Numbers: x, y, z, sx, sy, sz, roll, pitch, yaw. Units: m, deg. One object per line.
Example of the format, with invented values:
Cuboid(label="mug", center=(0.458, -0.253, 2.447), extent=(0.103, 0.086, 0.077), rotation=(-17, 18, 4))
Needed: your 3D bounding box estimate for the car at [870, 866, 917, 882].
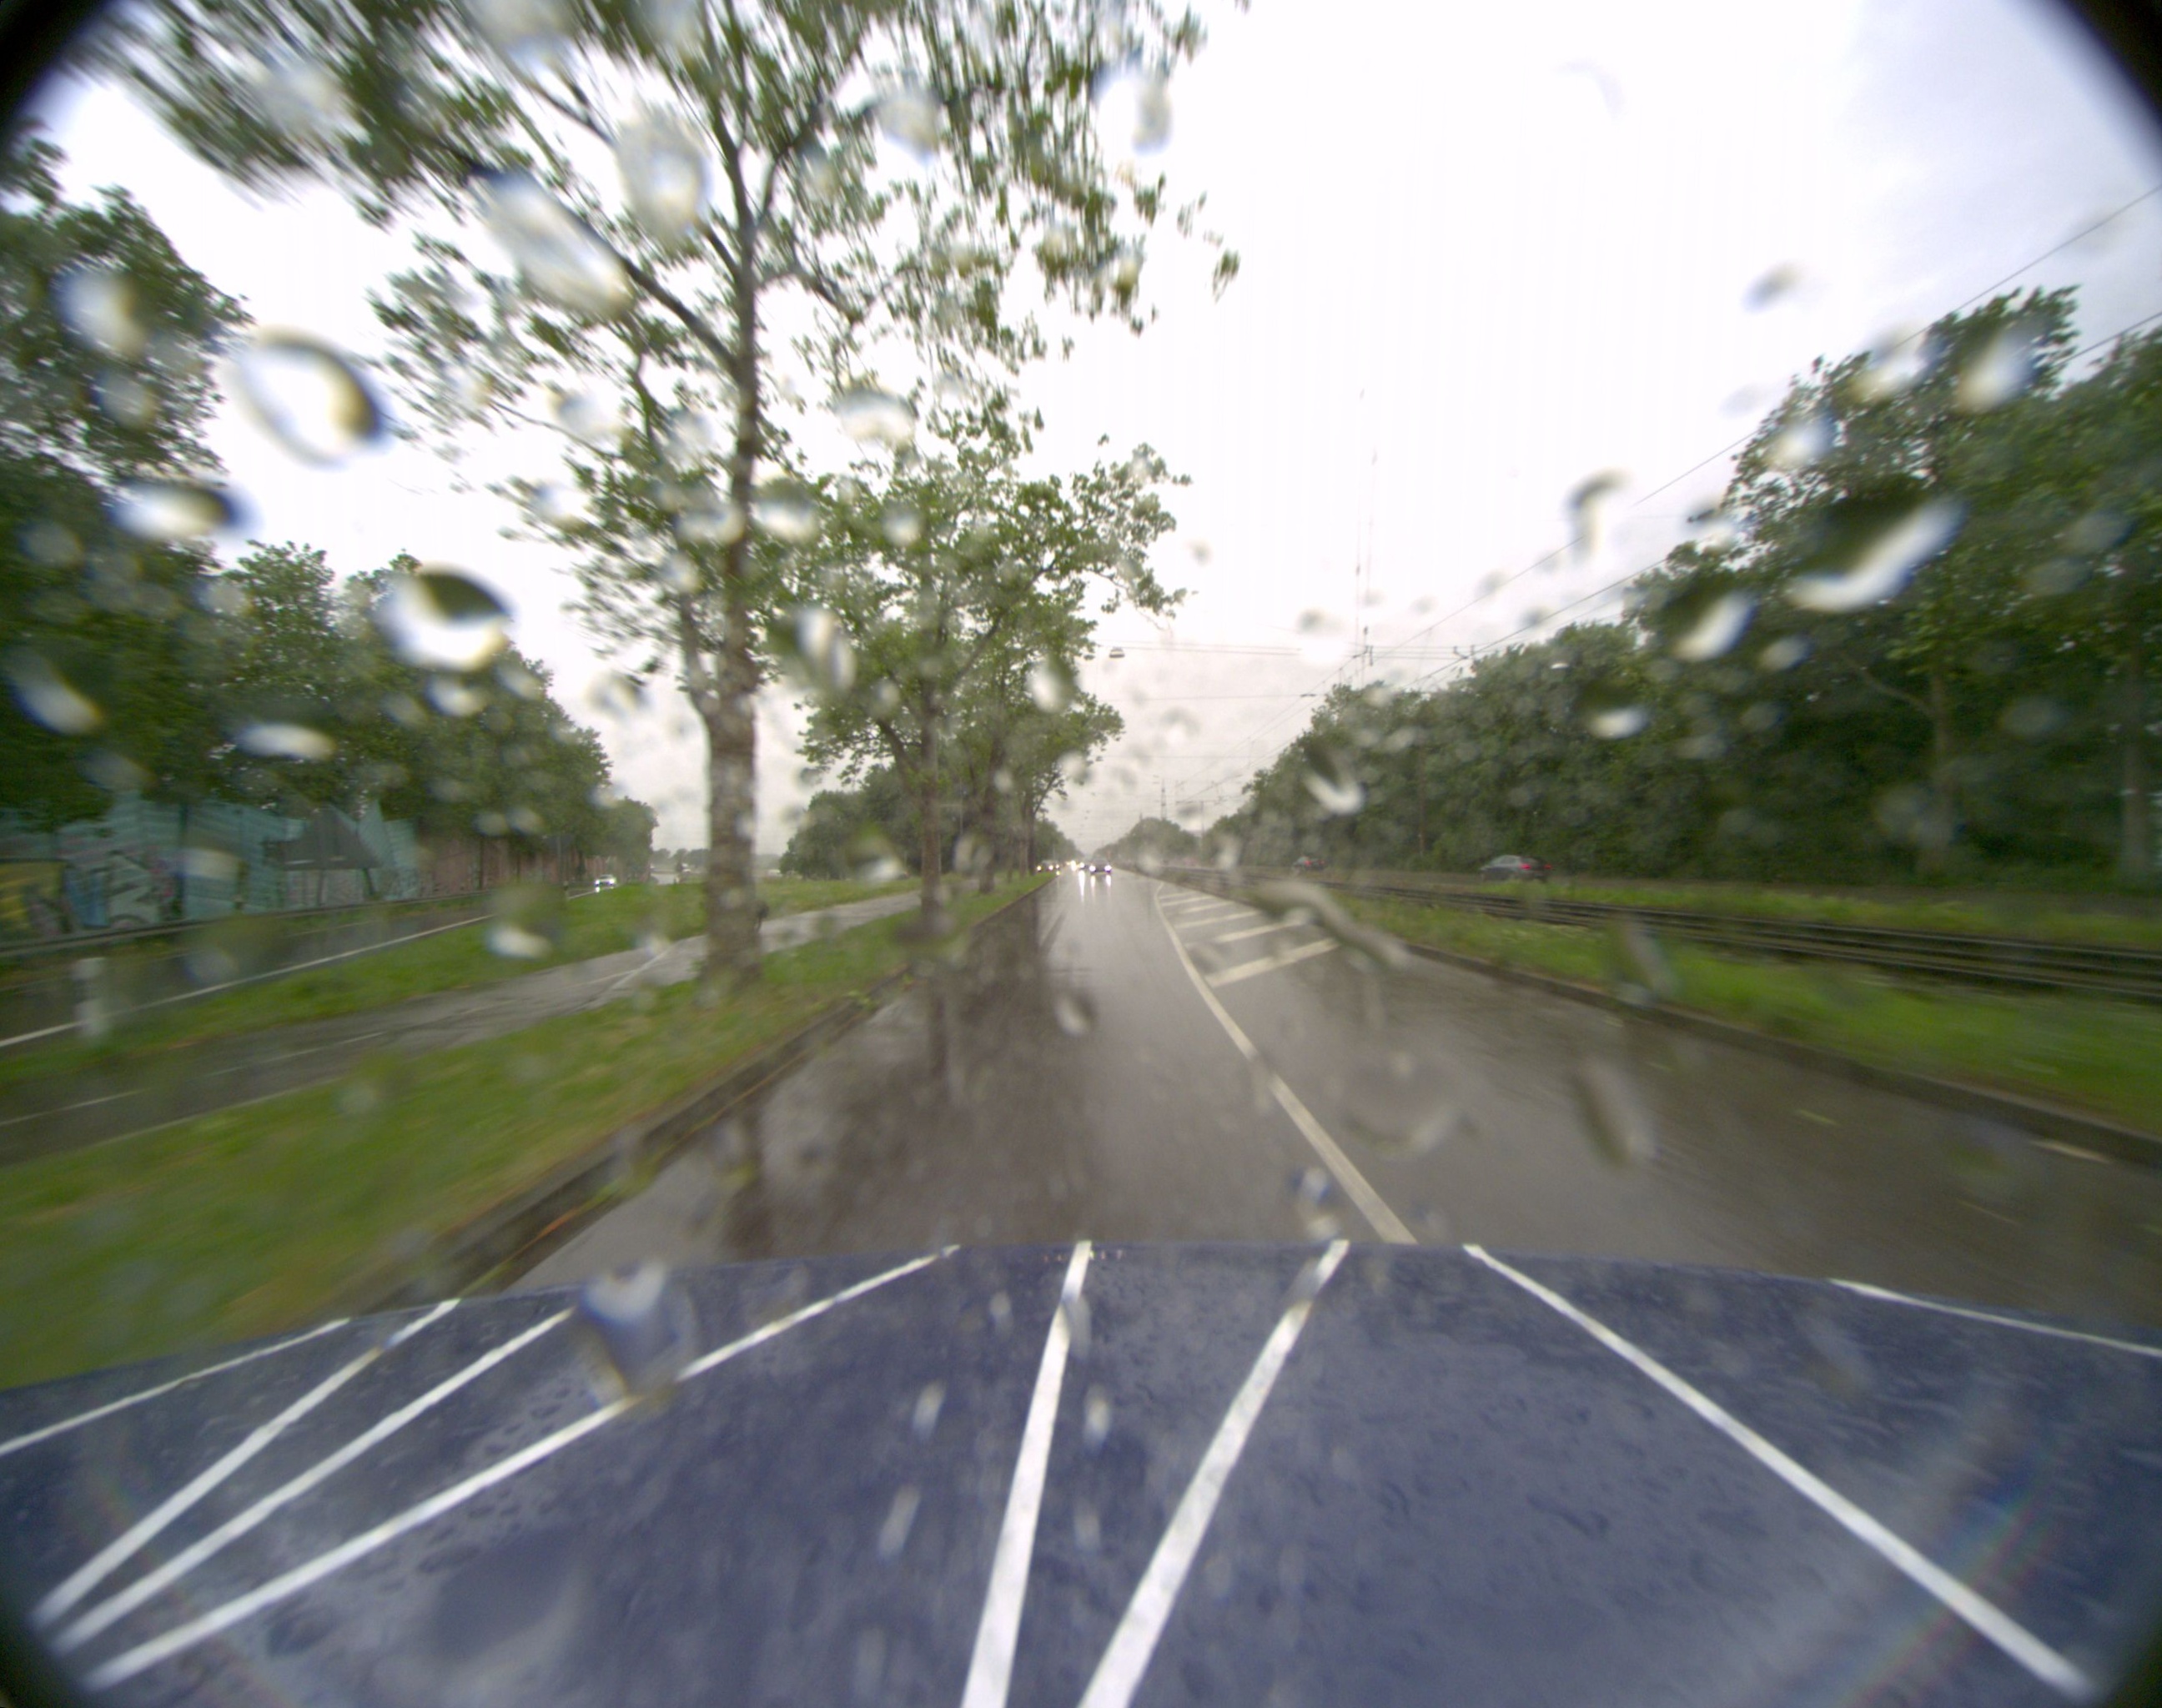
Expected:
Cuboid(label="car", center=(-17.555, 1.832, 71.121), extent=(4.005, 1.412, 1.748), rotation=(-1, 1, -24))

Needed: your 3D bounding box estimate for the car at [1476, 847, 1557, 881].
Cuboid(label="car", center=(21.889, 0.478, 38.373), extent=(1.655, 1.559, 4.046), rotation=(-2, 0, -1))

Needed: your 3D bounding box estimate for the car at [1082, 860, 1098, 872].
Cuboid(label="car", center=(1.102, 1.534, 97.122), extent=(1.971, 1.412, 3.999), rotation=(-1, 0, 0))

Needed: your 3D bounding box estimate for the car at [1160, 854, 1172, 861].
Cuboid(label="car", center=(16.931, 0.638, 150.880), extent=(1.776, 1.322, 4.379), rotation=(-2, 0, -1))

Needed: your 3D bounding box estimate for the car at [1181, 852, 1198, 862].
Cuboid(label="car", center=(17.095, 0.516, 119.802), extent=(1.695, 1.514, 4.954), rotation=(-2, 0, -2))

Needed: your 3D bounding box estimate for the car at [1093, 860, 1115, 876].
Cuboid(label="car", center=(2.141, 1.295, 72.514), extent=(1.971, 1.412, 3.999), rotation=(-1, 0, 0))

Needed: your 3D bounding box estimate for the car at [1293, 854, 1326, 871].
Cuboid(label="car", center=(20.486, 0.715, 68.220), extent=(1.687, 1.398, 3.938), rotation=(-2, 1, -1))
